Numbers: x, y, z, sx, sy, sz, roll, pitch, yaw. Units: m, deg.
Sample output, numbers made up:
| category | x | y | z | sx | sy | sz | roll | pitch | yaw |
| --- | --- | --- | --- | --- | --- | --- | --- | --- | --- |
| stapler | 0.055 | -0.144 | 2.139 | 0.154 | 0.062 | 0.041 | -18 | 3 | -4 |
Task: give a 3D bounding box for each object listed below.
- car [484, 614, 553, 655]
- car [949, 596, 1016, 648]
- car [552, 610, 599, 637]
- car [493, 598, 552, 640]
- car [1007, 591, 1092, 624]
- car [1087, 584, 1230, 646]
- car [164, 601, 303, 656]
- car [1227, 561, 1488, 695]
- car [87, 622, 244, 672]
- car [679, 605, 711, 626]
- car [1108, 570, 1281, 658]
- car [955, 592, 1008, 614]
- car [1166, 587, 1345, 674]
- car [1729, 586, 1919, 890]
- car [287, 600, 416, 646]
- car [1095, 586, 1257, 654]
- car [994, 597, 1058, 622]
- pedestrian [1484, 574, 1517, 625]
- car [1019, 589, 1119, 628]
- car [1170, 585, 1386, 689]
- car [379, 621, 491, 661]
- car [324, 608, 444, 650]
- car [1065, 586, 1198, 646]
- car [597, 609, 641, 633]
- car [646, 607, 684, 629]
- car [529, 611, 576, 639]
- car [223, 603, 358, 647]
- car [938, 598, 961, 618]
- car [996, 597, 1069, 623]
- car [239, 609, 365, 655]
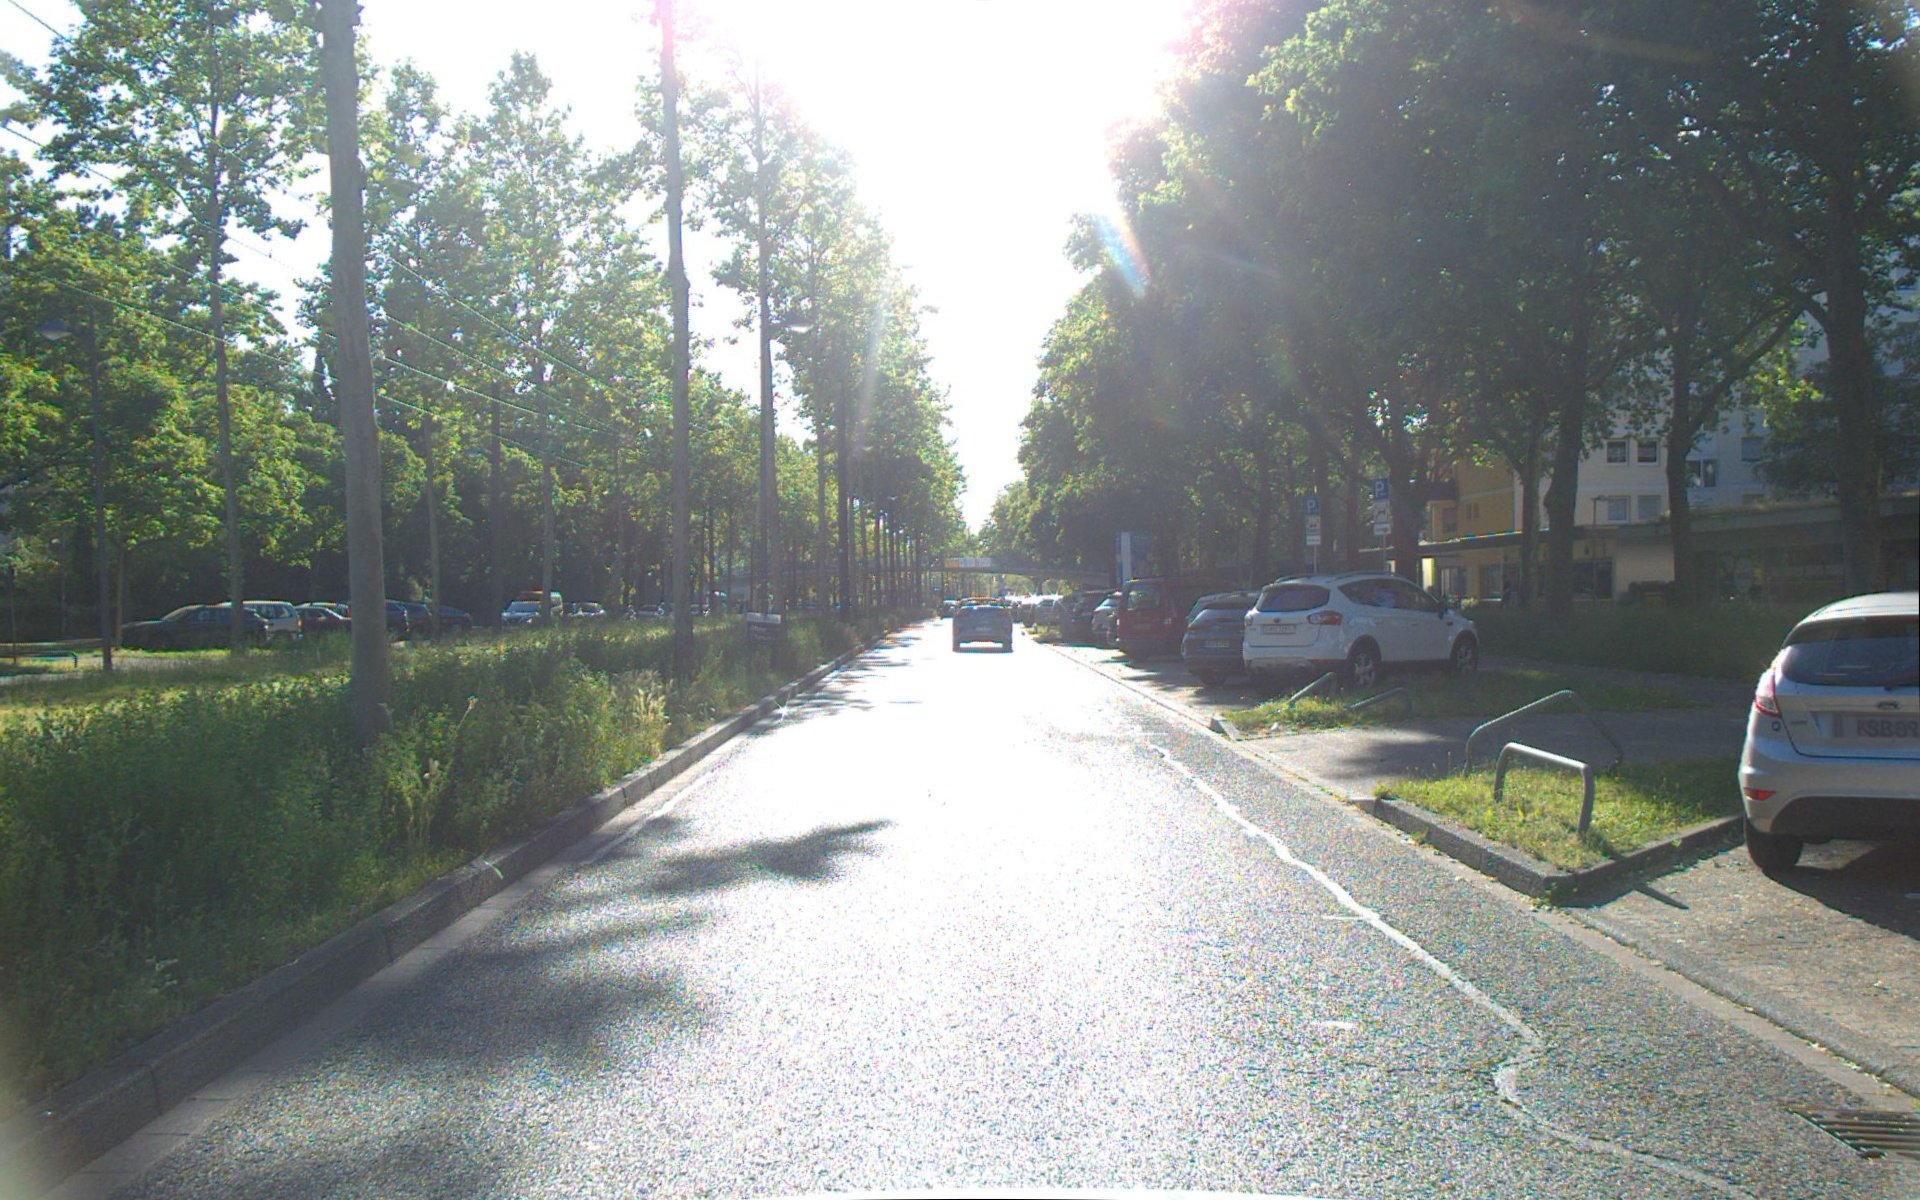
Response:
| category | x | y | z | sx | sy | sz | roll | pitch | yaw |
| --- | --- | --- | --- | --- | --- | --- | --- | --- | --- |
| car | -18.893 | 1.445 | 71.006 | 1.885 | 1.532 | 4.084 | -4 | 0 | -2 |
| car | 0.638 | 0.613 | 48.856 | 1.883 | 1.436 | 4.000 | 0 | 0 | 0 |
| car | -22.906 | 1.387 | 98.656 | 1.833 | 1.478 | 3.575 | 2 | 0 | 1 |
| car | -23.060 | 0.969 | 87.326 | 1.611 | 2.130 | 4.915 | 2 | 0 | 1 |
| car | 4.490 | 0.384 | 82.636 | 4.297 | 1.449 | 1.826 | -2 | 0 | -44 |
| car | 5.848 | 0.429 | 48.535 | 4.039 | 1.609 | 1.759 | -2 | 0 | -35 |
| car | -24.474 | 0.946 | 55.762 | 3.948 | 1.704 | 1.759 | -1 | 0 | -44 |
| car | 5.871 | 0.360 | 24.203 | 3.994 | 1.734 | 1.734 | -2 | 0 | -42 |
| car | -24.655 | 1.432 | 51.410 | 4.099 | 1.361 | 1.767 | -1 | 1 | -44 |
| car | -21.644 | 1.216 | 135.187 | 1.750 | 1.617 | 4.168 | 2 | 0 | 1 |
| car | 5.415 | 0.297 | 37.883 | 4.048 | 1.842 | 1.627 | -2 | 0 | -41 |
| car | 1.856 | 0.256 | 140.944 | 4.587 | 1.799 | 1.827 | 0 | 0 | -43 |
| car | 5.631 | 0.554 | 31.320 | 1.622 | 1.473 | 3.604 | -2 | 0 | 43 |
| car | 5.904 | 0.622 | 9.289 | 3.909 | 1.397 | 1.562 | -2 | 0 | -44 |
| car | -23.989 | 0.895 | 65.323 | 4.451 | 1.704 | 1.767 | -1 | 0 | -44 |
| car | 5.463 | 0.489 | 41.588 | 4.041 | 1.507 | 1.630 | -2 | 0 | -37 |
| car | 4.657 | 0.673 | 116.742 | 4.587 | 1.710 | 1.827 | 0 | 0 | -43 |
| pedestrian | 20.762 | -0.028 | 63.562 | 0.856 | 1.947 | 0.869 | -1 | 0 | -9 |
| car | 4.795 | 0.362 | 72.272 | 4.460 | 1.469 | 1.826 | -2 | 0 | -44 |
| car | 5.284 | 0.572 | 27.235 | 3.759 | 1.496 | 1.624 | -2 | 0 | -44 |
| car | -23.428 | 1.804 | 73.904 | 4.451 | 1.596 | 1.767 | -1 | 0 | -44 |
| car | -24.056 | 1.201 | 69.176 | 4.451 | 1.596 | 1.767 | -1 | 0 | -44 |
| car | 5.416 | 0.482 | 51.938 | 4.279 | 1.747 | 1.612 | -1 | 0 | -40 |
| car | -22.409 | 1.353 | 108.881 | 1.952 | 1.478 | 4.001 | 2 | 0 | 1 |
| car | -21.578 | 1.306 | 121.000 | 1.952 | 1.478 | 4.001 | 2 | 0 | 1 |
| car | -23.039 | 1.409 | 93.642 | 1.611 | 1.478 | 3.664 | 2 | 0 | 1 |
| car | -25.061 | 0.919 | 61.962 | 4.439 | 1.507 | 1.596 | -1 | 0 | -37 |
| car | -0.850 | 0.666 | 136.613 | 1.811 | 1.562 | 3.866 | -1 | 0 | 0 |
| car | 4.455 | 0.586 | 101.207 | 1.945 | 1.484 | 4.594 | -2 | 0 | 43 |
| car | -23.836 | 1.137 | 59.964 | 3.890 | 1.513 | 1.767 | -1 | 0 | -44 |
